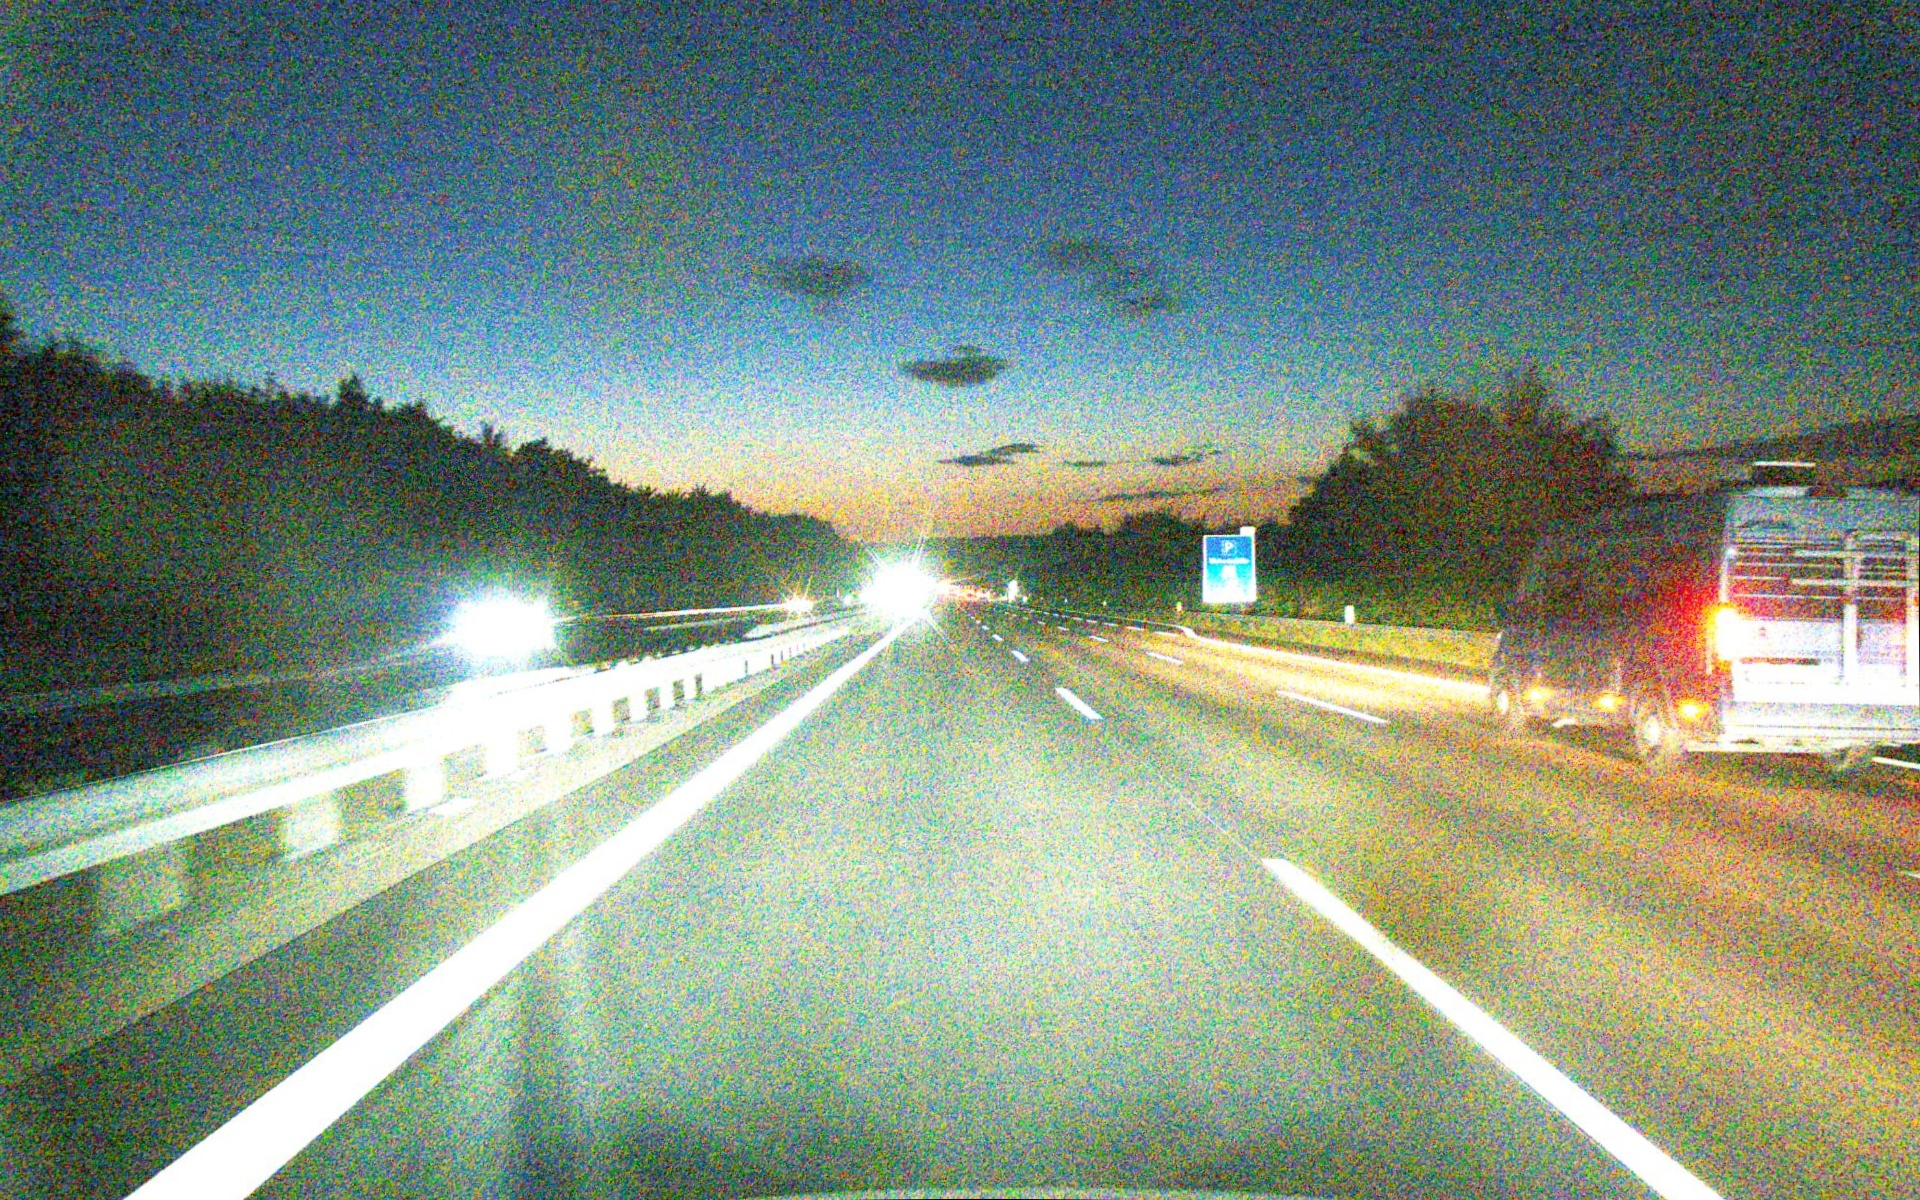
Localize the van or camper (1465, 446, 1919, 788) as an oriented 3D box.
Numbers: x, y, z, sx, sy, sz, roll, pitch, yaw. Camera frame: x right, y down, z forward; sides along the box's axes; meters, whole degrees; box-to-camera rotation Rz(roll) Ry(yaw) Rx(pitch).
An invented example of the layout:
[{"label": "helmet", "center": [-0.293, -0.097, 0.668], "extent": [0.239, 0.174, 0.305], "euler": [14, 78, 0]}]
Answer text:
[{"label": "van or camper", "center": [7.393, 0.116, 17.131], "extent": [2.162, 2.820, 6.803], "euler": [1, 0, -1]}]

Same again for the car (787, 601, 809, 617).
[{"label": "car", "center": [-18.238, 0.978, 185.870], "extent": [1.953, 1.578, 5.003], "euler": [-4, 0, -1]}]

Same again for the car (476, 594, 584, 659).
[{"label": "car", "center": [-13.195, 0.769, 51.104], "extent": [1.953, 1.666, 5.074], "euler": [-4, 1, 0]}]
